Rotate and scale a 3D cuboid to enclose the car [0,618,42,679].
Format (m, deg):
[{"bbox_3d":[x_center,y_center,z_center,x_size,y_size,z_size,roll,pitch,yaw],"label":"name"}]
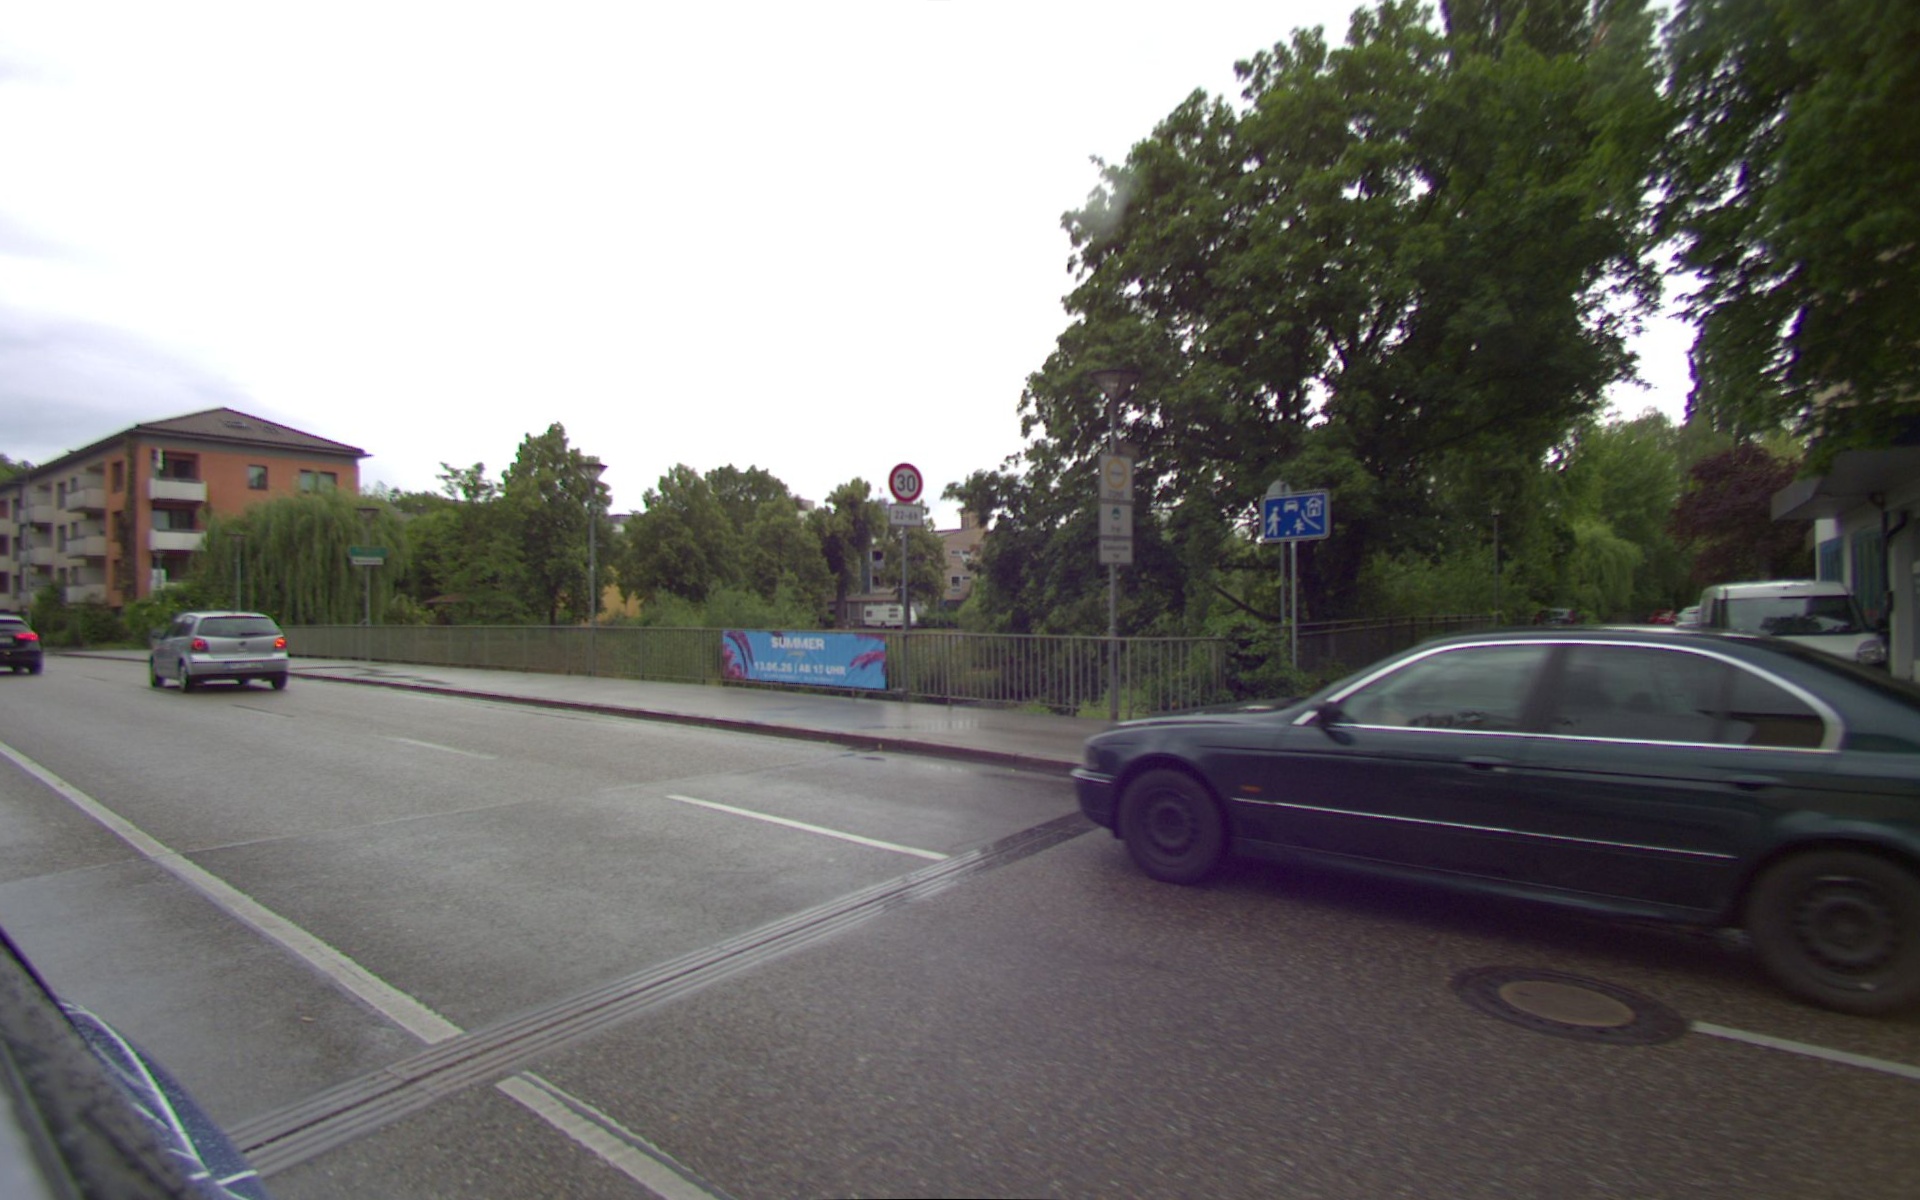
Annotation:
[{"bbox_3d":[-24.133,1.154,24.929,4.091,1.427,1.692,-1,-2,40],"label":"car"}]

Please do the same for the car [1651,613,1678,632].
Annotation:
[{"bbox_3d":[59.253,1.909,85.104,1.738,1.593,3.837,-1,-2,37],"label":"car"}]

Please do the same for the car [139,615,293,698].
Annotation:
[{"bbox_3d":[-14.302,1.015,19.405,3.684,1.430,1.609,0,-1,41],"label":"car"}]

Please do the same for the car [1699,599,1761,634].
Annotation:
[{"bbox_3d":[40.361,0.841,53.152,1.993,1.666,4.707,-3,-2,31],"label":"car"}]

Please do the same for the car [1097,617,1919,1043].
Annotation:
[{"bbox_3d":[3.025,0.846,4.952,4.421,1.470,1.712,0,-1,38],"label":"car"}]

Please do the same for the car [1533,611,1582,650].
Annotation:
[{"bbox_3d":[25.704,1.293,43.520,1.735,1.593,3.845,-1,-1,31],"label":"car"}]

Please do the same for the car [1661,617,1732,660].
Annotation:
[{"bbox_3d":[31.851,1.628,43.892,1.993,1.666,4.707,-3,-2,31],"label":"car"}]

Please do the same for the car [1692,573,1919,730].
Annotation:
[{"bbox_3d":[11.952,0.653,14.414,1.993,1.868,4.707,-3,-2,31],"label":"car"}]
